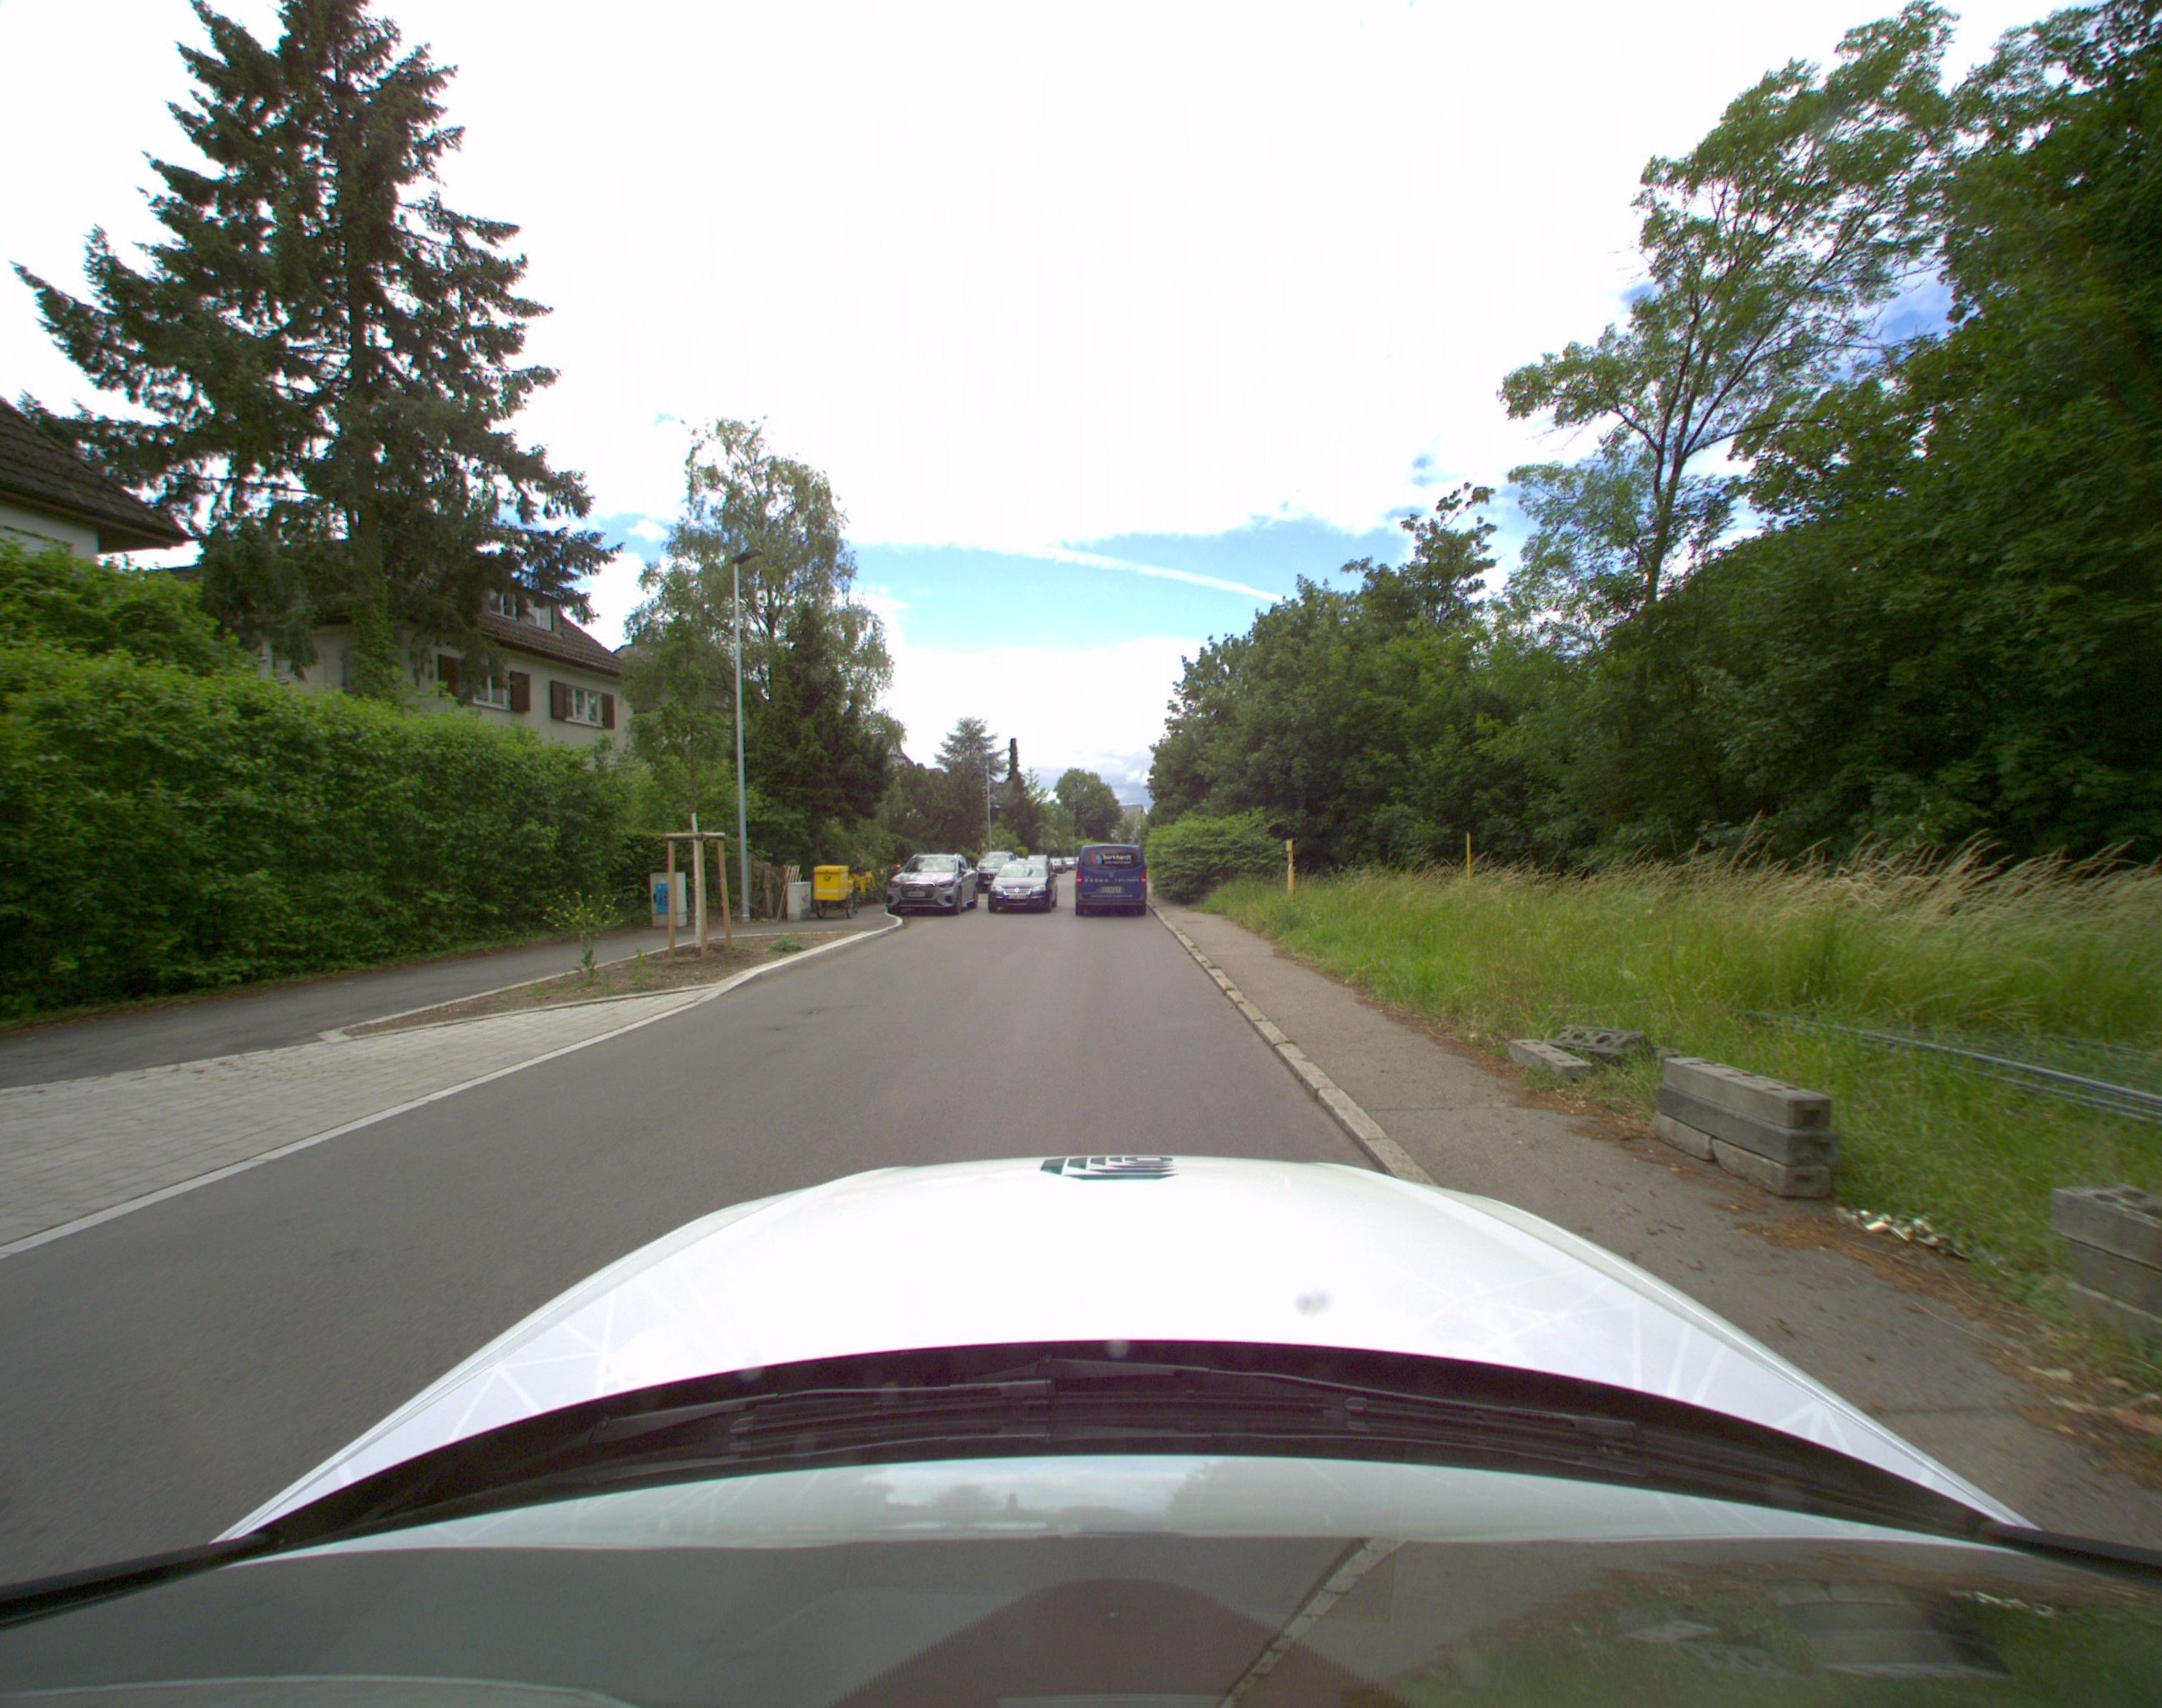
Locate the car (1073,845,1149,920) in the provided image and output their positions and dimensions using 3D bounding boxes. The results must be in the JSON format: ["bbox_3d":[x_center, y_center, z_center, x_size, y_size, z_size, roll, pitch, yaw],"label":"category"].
[{"bbox_3d":[0.759,0.691,22.531,1.882,1.844,4.000,-1,1,0],"label":"car"}]

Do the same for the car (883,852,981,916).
[{"bbox_3d":[-4.074,0.776,22.932,1.829,1.631,4.302,0,0,2],"label":"car"}]

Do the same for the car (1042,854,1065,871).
[{"bbox_3d":[-2.552,0.754,76.436,1.921,1.413,3.965,0,1,2],"label":"car"}]

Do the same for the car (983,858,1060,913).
[{"bbox_3d":[-1.657,0.856,23.946,1.813,1.443,4.002,0,0,2],"label":"car"}]

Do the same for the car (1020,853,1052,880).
[{"bbox_3d":[-3.117,0.849,57.479,1.884,1.692,4.551,0,1,2],"label":"car"}]

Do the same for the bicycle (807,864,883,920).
[{"bbox_3d":[-5.734,0.883,20.016,0.902,1.252,2.917,1,0,2],"label":"bicycle"}]

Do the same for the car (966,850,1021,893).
[{"bbox_3d":[-3.791,0.726,35.836,1.825,1.751,4.002,0,0,2],"label":"car"}]

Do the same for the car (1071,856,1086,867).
[{"bbox_3d":[-0.339,0.986,112.276,1.921,1.413,3.965,0,1,2],"label":"car"}]

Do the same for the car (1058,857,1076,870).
[{"bbox_3d":[-1.574,1.086,93.655,1.921,1.413,3.965,0,1,2],"label":"car"}]
